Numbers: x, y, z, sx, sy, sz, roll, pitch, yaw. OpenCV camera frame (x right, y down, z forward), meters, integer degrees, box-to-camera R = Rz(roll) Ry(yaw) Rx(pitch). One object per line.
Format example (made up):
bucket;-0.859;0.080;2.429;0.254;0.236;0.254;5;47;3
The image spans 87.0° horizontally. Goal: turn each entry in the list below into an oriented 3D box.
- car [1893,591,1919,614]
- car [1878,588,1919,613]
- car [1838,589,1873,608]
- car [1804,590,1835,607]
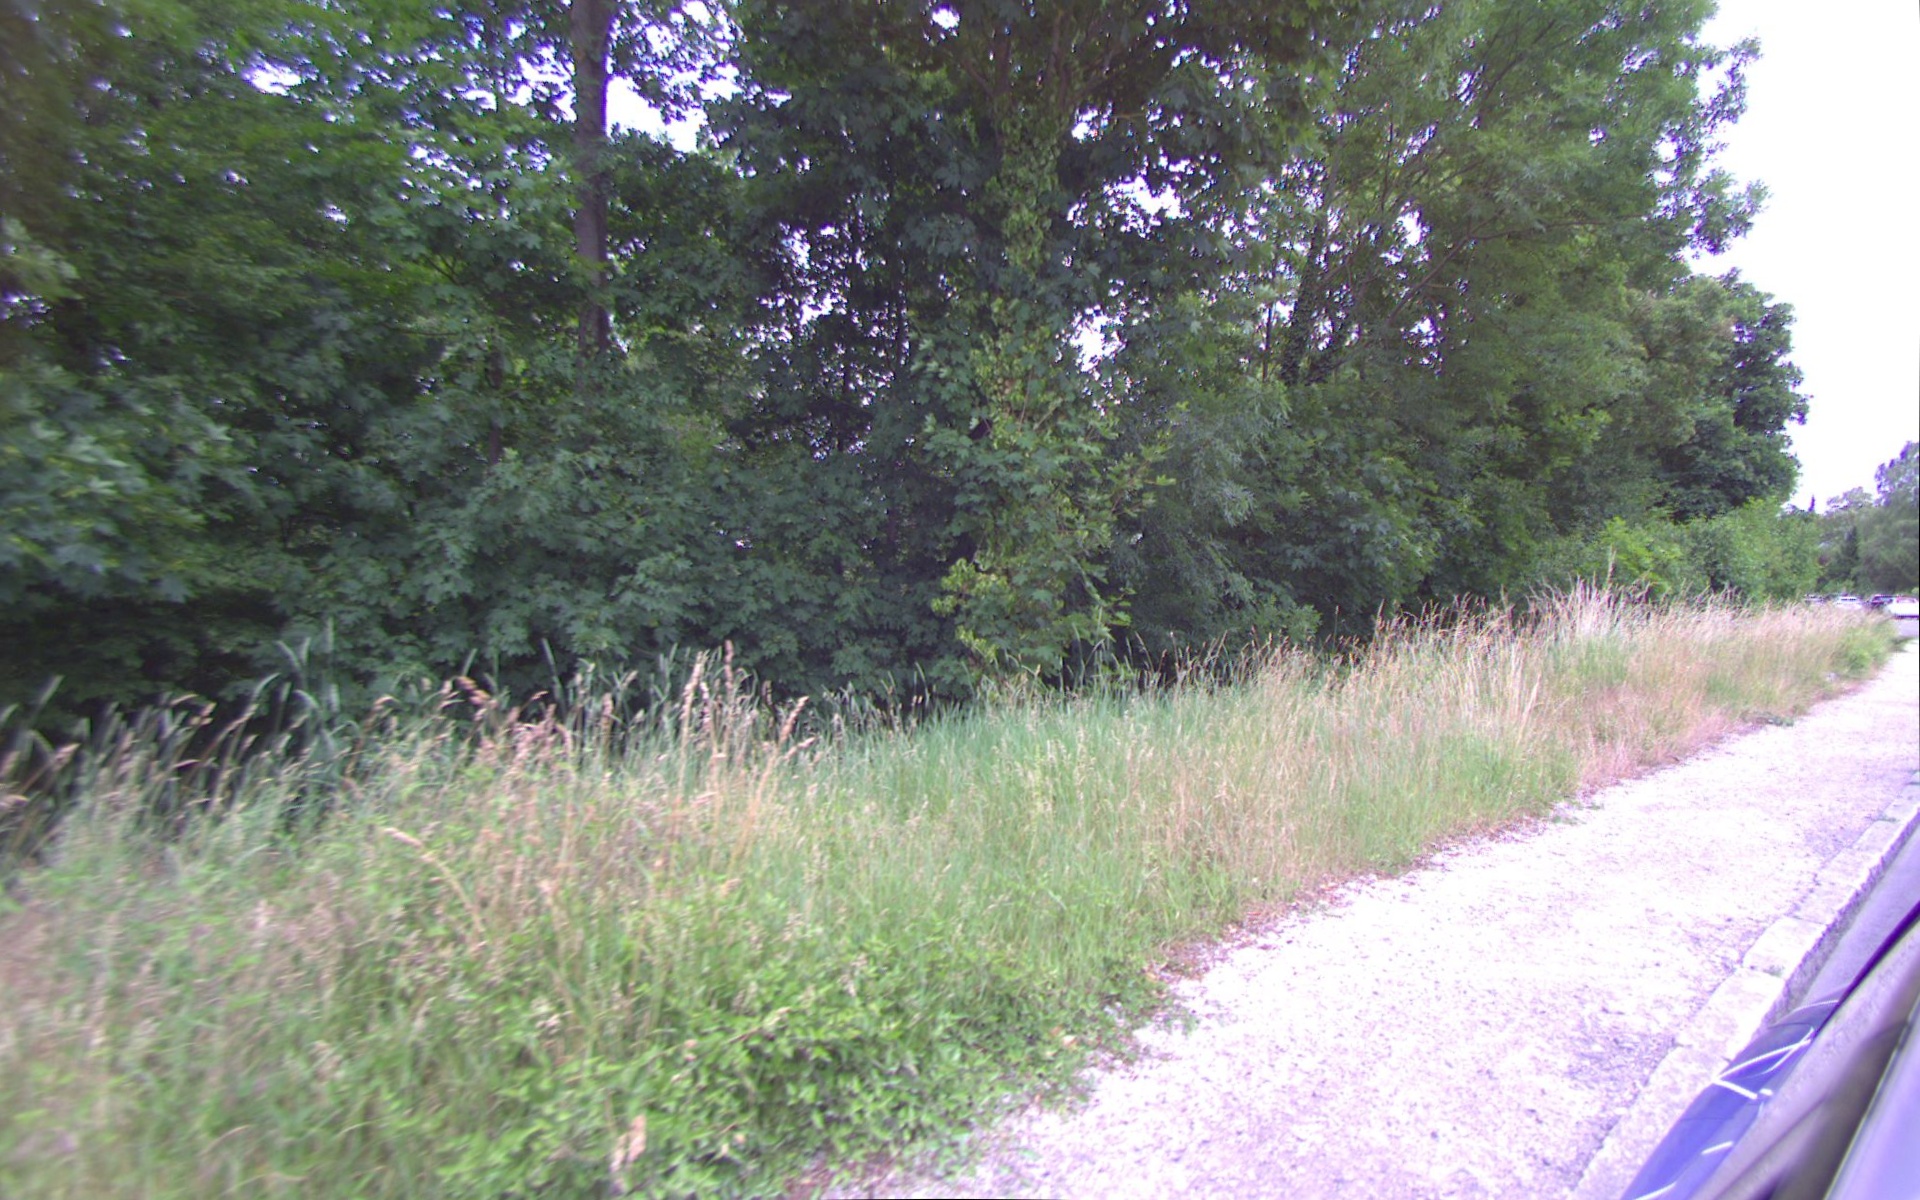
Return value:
car;64.848;0.148;68.633;1.700;1.530;3.898;1;1;34
car;67.460;0.016;72.522;1.785;1.685;4.339;1;1;34
car;75.588;-0.143;85.451;1.702;1.530;4.496;1;1;36
car;85.935;-0.184;101.178;1.789;1.627;4.673;1;1;34
